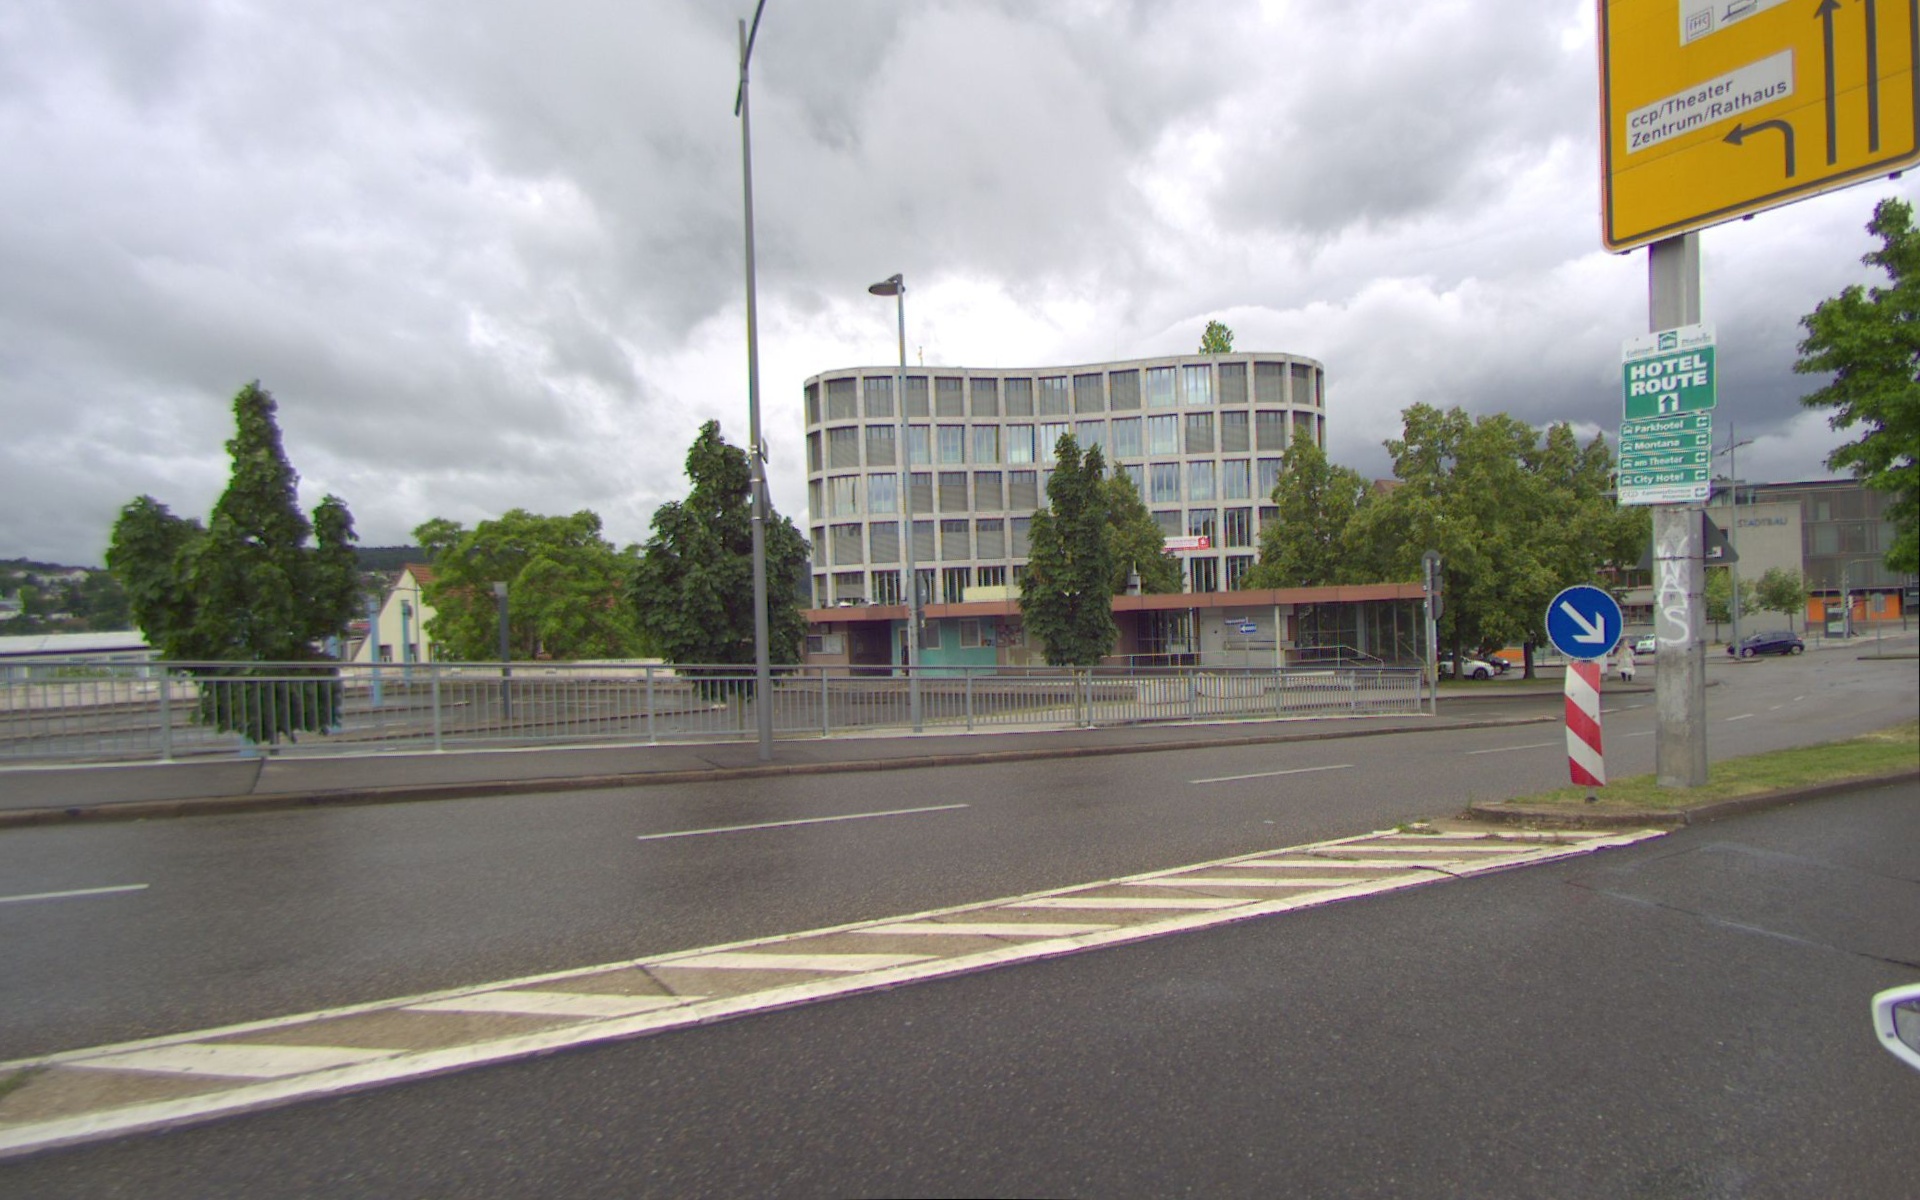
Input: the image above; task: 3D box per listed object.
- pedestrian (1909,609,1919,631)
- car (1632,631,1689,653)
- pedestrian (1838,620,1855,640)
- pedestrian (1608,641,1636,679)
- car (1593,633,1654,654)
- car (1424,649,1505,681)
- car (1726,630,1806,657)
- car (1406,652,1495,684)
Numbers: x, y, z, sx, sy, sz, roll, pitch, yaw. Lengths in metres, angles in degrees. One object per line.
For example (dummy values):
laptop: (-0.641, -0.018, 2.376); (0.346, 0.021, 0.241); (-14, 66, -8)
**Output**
pedestrian: (77.128, 1.639, 81.023); (0.752, 1.706, 0.473); (-2, -2, -23)
car: (53.582, 3.210, 76.890); (3.522, 1.515, 1.628); (-2, -2, -15)
pedestrian: (66.293, 2.233, 75.109); (0.713, 1.410, 0.675); (-2, -1, -32)
pedestrian: (27.856, 2.538, 42.263); (0.621, 1.590, 0.651); (0, -4, -20)
car: (54.197, 3.572, 82.111); (3.712, 1.515, 1.767); (-3, -2, 9)
car: (28.621, 3.670, 57.100); (3.761, 1.588, 1.729); (-3, -1, 13)
car: (52.651, 2.860, 65.686); (3.604, 1.457, 1.829); (-6, -3, 24)
car: (26.661, 3.682, 54.722); (3.974, 1.528, 1.729); (-3, -1, 13)
